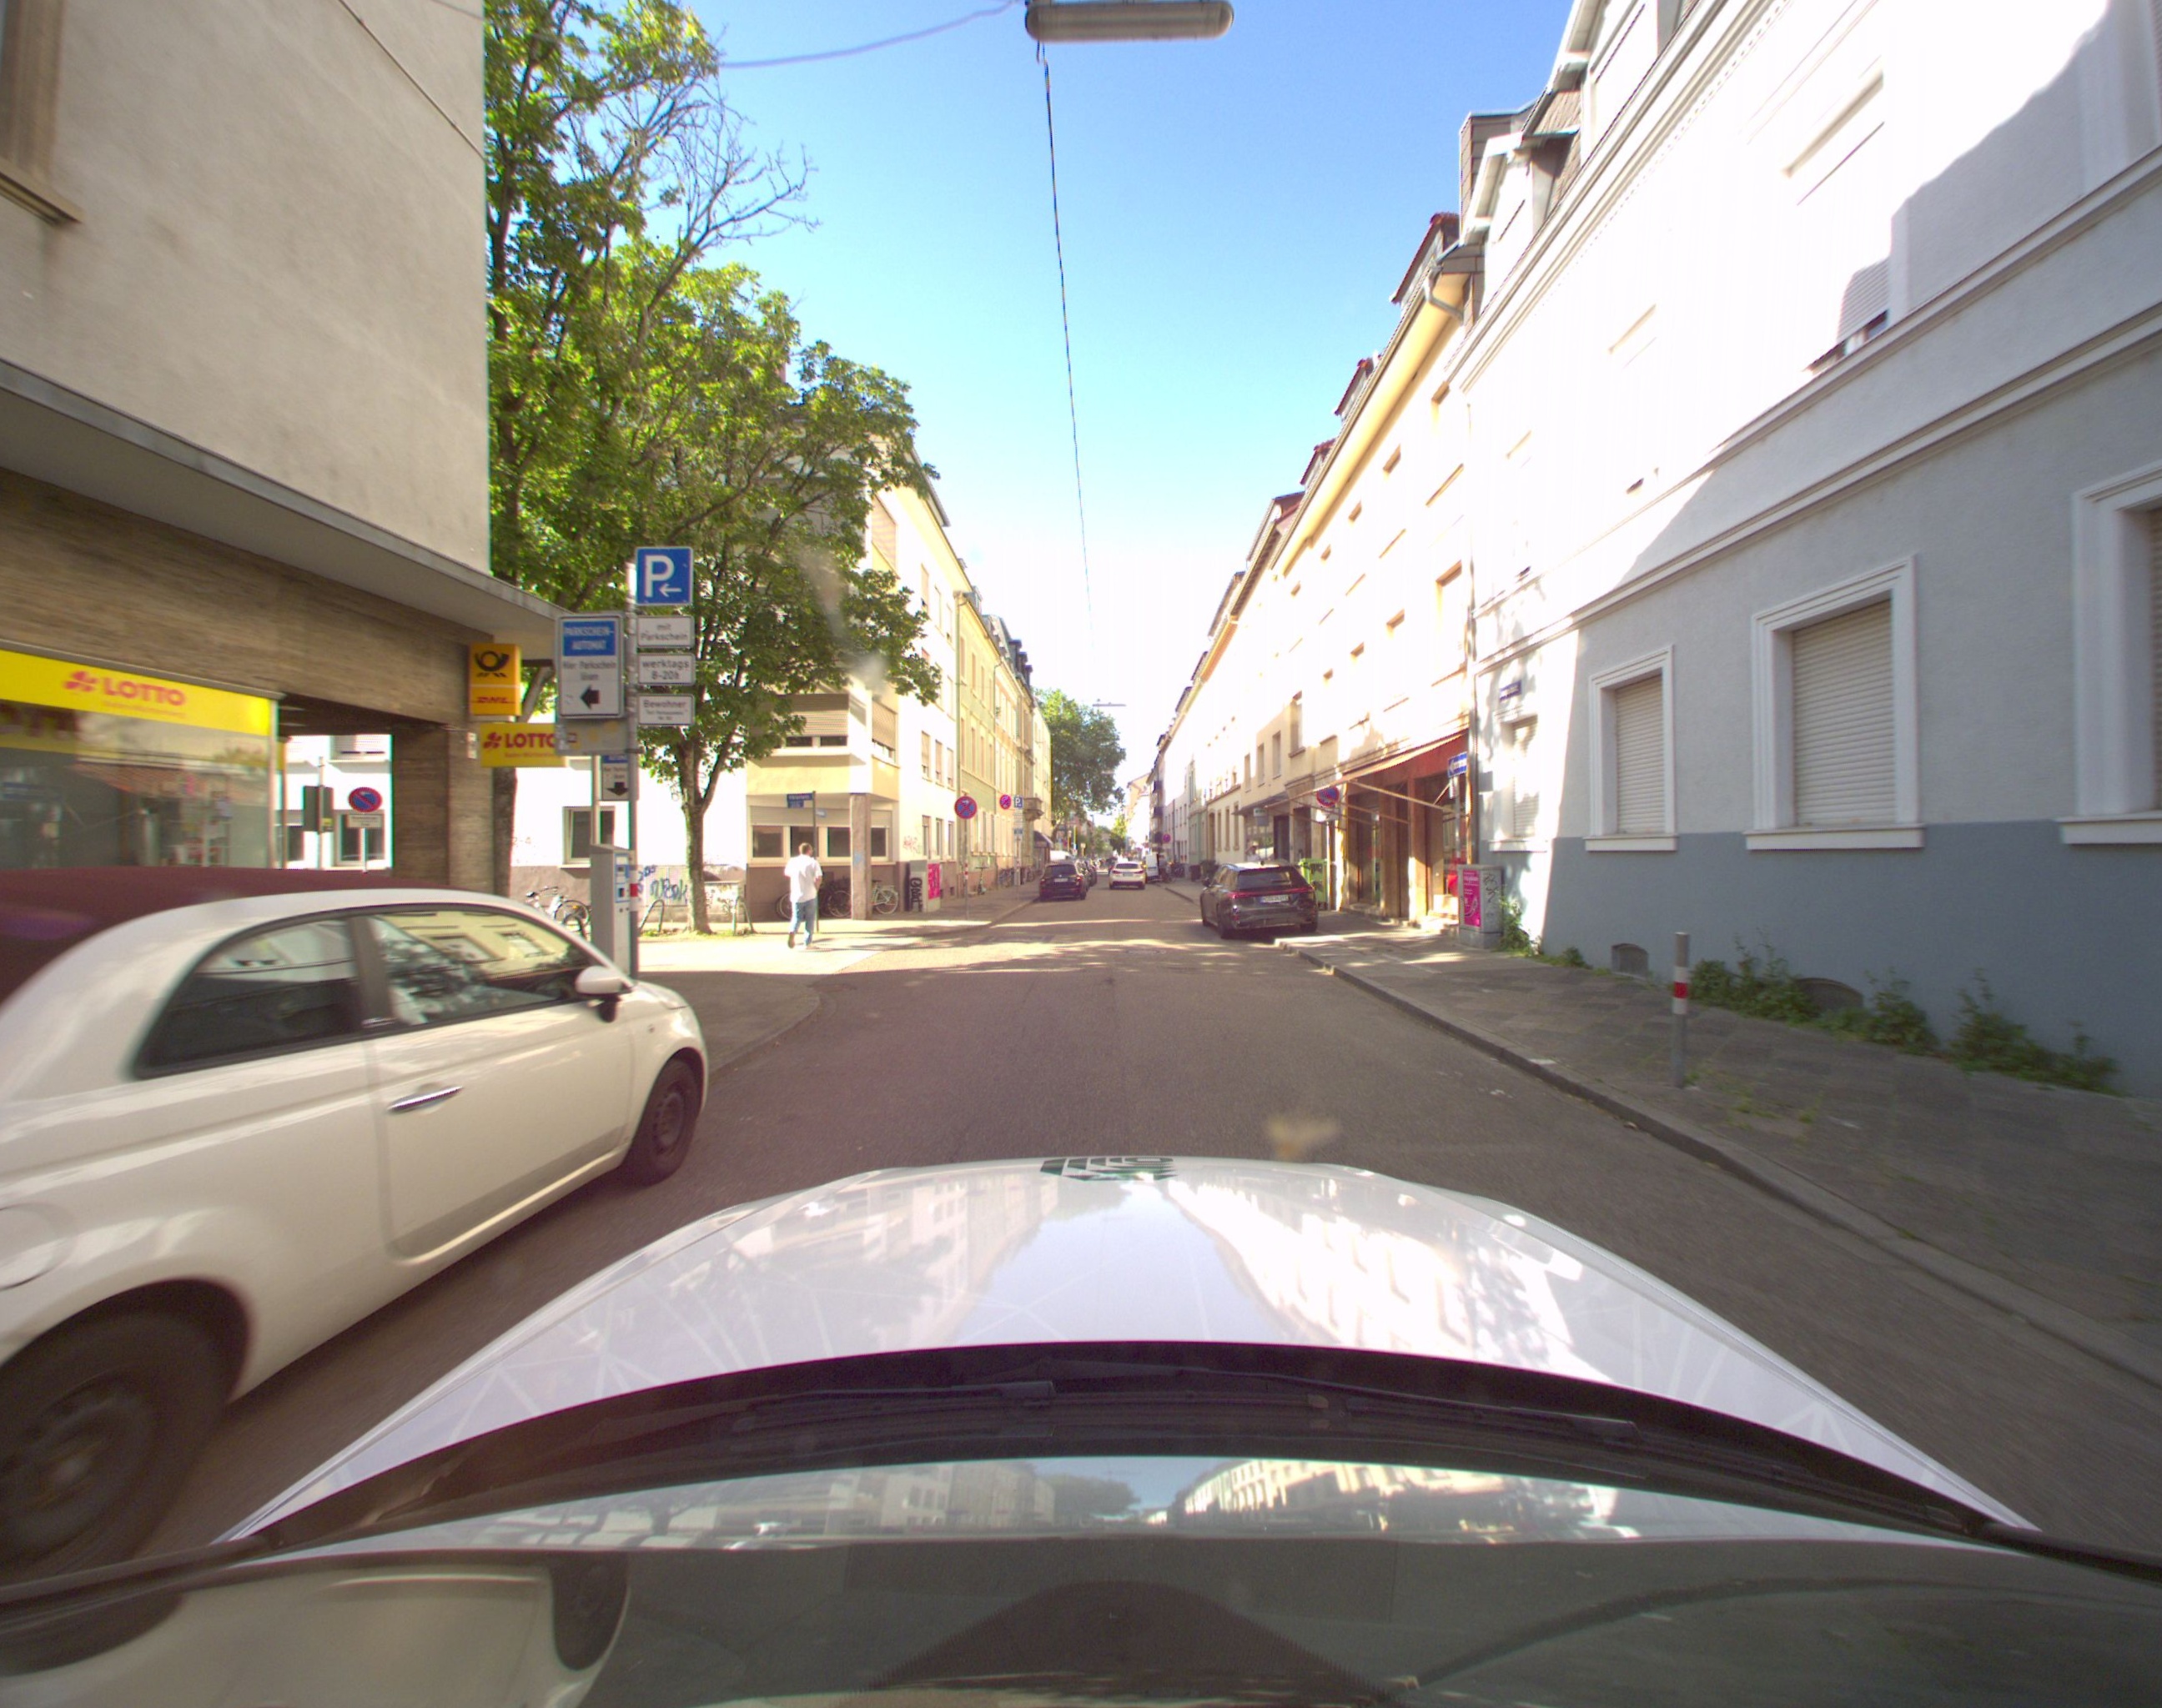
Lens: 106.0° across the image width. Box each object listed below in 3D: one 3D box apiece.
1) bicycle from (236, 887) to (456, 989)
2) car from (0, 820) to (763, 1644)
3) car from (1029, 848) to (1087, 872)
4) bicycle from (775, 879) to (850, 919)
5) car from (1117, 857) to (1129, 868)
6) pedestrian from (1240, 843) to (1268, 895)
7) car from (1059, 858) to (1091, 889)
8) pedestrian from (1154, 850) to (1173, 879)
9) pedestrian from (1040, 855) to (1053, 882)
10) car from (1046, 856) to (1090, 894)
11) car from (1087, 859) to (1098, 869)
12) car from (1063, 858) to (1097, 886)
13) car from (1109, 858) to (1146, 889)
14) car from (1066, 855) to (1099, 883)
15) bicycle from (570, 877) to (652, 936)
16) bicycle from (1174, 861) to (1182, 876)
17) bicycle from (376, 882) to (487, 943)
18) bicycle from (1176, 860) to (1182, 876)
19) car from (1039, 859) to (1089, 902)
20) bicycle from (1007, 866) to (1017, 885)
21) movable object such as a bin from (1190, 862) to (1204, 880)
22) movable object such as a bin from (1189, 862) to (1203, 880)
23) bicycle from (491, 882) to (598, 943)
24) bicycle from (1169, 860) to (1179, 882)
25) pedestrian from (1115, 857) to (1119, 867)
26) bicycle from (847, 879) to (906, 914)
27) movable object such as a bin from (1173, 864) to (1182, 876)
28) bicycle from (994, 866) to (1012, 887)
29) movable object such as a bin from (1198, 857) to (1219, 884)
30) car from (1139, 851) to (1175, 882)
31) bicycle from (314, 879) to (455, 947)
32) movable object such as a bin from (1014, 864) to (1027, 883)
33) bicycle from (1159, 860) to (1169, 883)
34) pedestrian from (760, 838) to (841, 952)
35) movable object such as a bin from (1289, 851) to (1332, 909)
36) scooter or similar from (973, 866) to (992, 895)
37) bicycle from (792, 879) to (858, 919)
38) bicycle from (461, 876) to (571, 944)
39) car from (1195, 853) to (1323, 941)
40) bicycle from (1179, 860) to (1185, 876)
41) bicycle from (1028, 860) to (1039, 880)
[{"bbox_3d":[-9.507,1.028,10.704,0.704,1.143,2.309,-1,-1,3],"label":"bicycle"},{"bbox_3d":[-2.813,0.737,2.994,1.661,1.560,3.725,-1,-1,3],"label":"car"},{"bbox_3d":[-2.748,0.781,98.561,6.710,2.555,2.147,2,-1,3],"label":"car"},{"bbox_3d":[-6.805,1.126,20.717,0.378,0.913,1.875,-2,-1,42],"label":"bicycle"},{"bbox_3d":[7.117,1.423,138.321,1.936,1.948,4.077,0,-1,-1],"label":"car"},{"bbox_3d":[6.367,0.533,30.014,0.650,1.860,0.744,-3,0,-20],"label":"pedestrian"},{"bbox_3d":[-0.279,1.014,44.099,1.610,1.554,3.978,-1,0,1],"label":"car"},{"bbox_3d":[5.265,0.689,52.207,0.885,1.836,0.861,0,-2,-25],"label":"pedestrian"},{"bbox_3d":[-2.242,0.896,52.441,0.762,1.714,0.883,1,0,1],"label":"pedestrian"},{"bbox_3d":[-0.535,0.957,38.306,1.737,1.615,4.606,-2,0,3],"label":"car"},{"bbox_3d":[1.952,1.700,135.222,1.763,1.589,3.727,-1,0,1],"label":"car"},{"bbox_3d":[-0.007,1.054,48.862,1.706,1.531,4.371,-2,-1,3],"label":"car"},{"bbox_3d":[2.388,0.977,42.699,1.817,1.514,3.824,-1,-1,1],"label":"car"},{"bbox_3d":[0.149,1.003,54.382,1.929,1.736,5.144,-1,-1,2],"label":"car"},{"bbox_3d":[-9.911,1.079,17.269,0.480,1.101,2.063,-1,1,1],"label":"bicycle"},{"bbox_3d":[7.562,1.124,63.678,0.565,1.153,1.871,-1,-1,7],"label":"bicycle"},{"bbox_3d":[-13.656,1.199,17.211,0.676,1.066,1.998,-1,3,1],"label":"bicycle"},{"bbox_3d":[7.535,1.094,62.588,0.435,1.206,2.271,-1,-1,9],"label":"bicycle"},{"bbox_3d":[-0.604,0.991,32.443,1.707,1.488,4.853,-3,-1,1],"label":"car"},{"bbox_3d":[-3.759,1.170,44.536,0.400,1.056,1.836,-1,-1,-1],"label":"bicycle"},{"bbox_3d":[7.060,1.061,49.755,0.793,1.096,0.642,-1,-1,4],"label":"movable object such as a bin"},{"bbox_3d":[7.107,1.054,50.426,0.809,1.088,0.674,-1,-1,4],"label":"movable object such as a bin"},{"bbox_3d":[-11.086,1.173,16.936,0.636,1.029,2.185,-1,2,4],"label":"bicycle"},{"bbox_3d":[5.700,1.030,49.935,0.572,1.271,2.203,-3,-1,6],"label":"bicycle"},{"bbox_3d":[7.433,1.693,168.323,0.768,2.118,0.835,-1,-1,2],"label":"pedestrian"},{"bbox_3d":[-5.469,1.121,21.840,0.426,0.882,1.579,1,0,41],"label":"bicycle"},{"bbox_3d":[7.709,1.247,64.941,0.575,0.924,0.608,-3,-1,2],"label":"movable object such as a bin"},{"bbox_3d":[-3.938,1.124,41.189,0.358,1.029,1.923,-1,-1,11],"label":"bicycle"},{"bbox_3d":[6.758,0.884,43.165,0.834,1.390,1.297,-3,-3,1],"label":"movable object such as a bin"},{"bbox_3d":[5.112,0.827,55.596,1.976,1.884,5.601,-4,0,2],"label":"car"},{"bbox_3d":[-14.751,1.203,17.371,0.831,1.146,2.424,-1,3,1],"label":"bicycle"},{"bbox_3d":[-3.573,1.155,47.863,0.733,1.089,0.682,-1,1,-2],"label":"movable object such as a bin"},{"bbox_3d":[5.037,1.042,49.628,0.572,1.321,2.202,-2,0,6],"label":"bicycle"},{"bbox_3d":[-4.746,0.673,13.844,0.907,1.833,1.246,-1,-1,2],"label":"pedestrian"},{"bbox_3d":[5.996,0.661,21.358,0.743,1.436,1.373,-3,-1,4],"label":"movable object such as a bin"},{"bbox_3d":[-4.135,1.088,34.195,0.451,1.182,1.693,-1,-1,5],"label":"scooter or similar"},{"bbox_3d":[-6.429,1.118,20.524,0.399,0.897,1.595,-2,0,43],"label":"bicycle"},{"bbox_3d":[-11.747,1.129,17.040,0.500,1.185,2.440,-2,1,1],"label":"bicycle"},{"bbox_3d":[3.563,0.804,17.202,1.794,1.579,4.899,0,-1,2],"label":"car"},{"bbox_3d":[7.607,1.067,61.250,0.403,1.206,2.162,-1,-1,5],"label":"bicycle"},{"bbox_3d":[-3.175,1.067,54.478,0.508,1.277,1.868,-1,-1,3],"label":"bicycle"}]
